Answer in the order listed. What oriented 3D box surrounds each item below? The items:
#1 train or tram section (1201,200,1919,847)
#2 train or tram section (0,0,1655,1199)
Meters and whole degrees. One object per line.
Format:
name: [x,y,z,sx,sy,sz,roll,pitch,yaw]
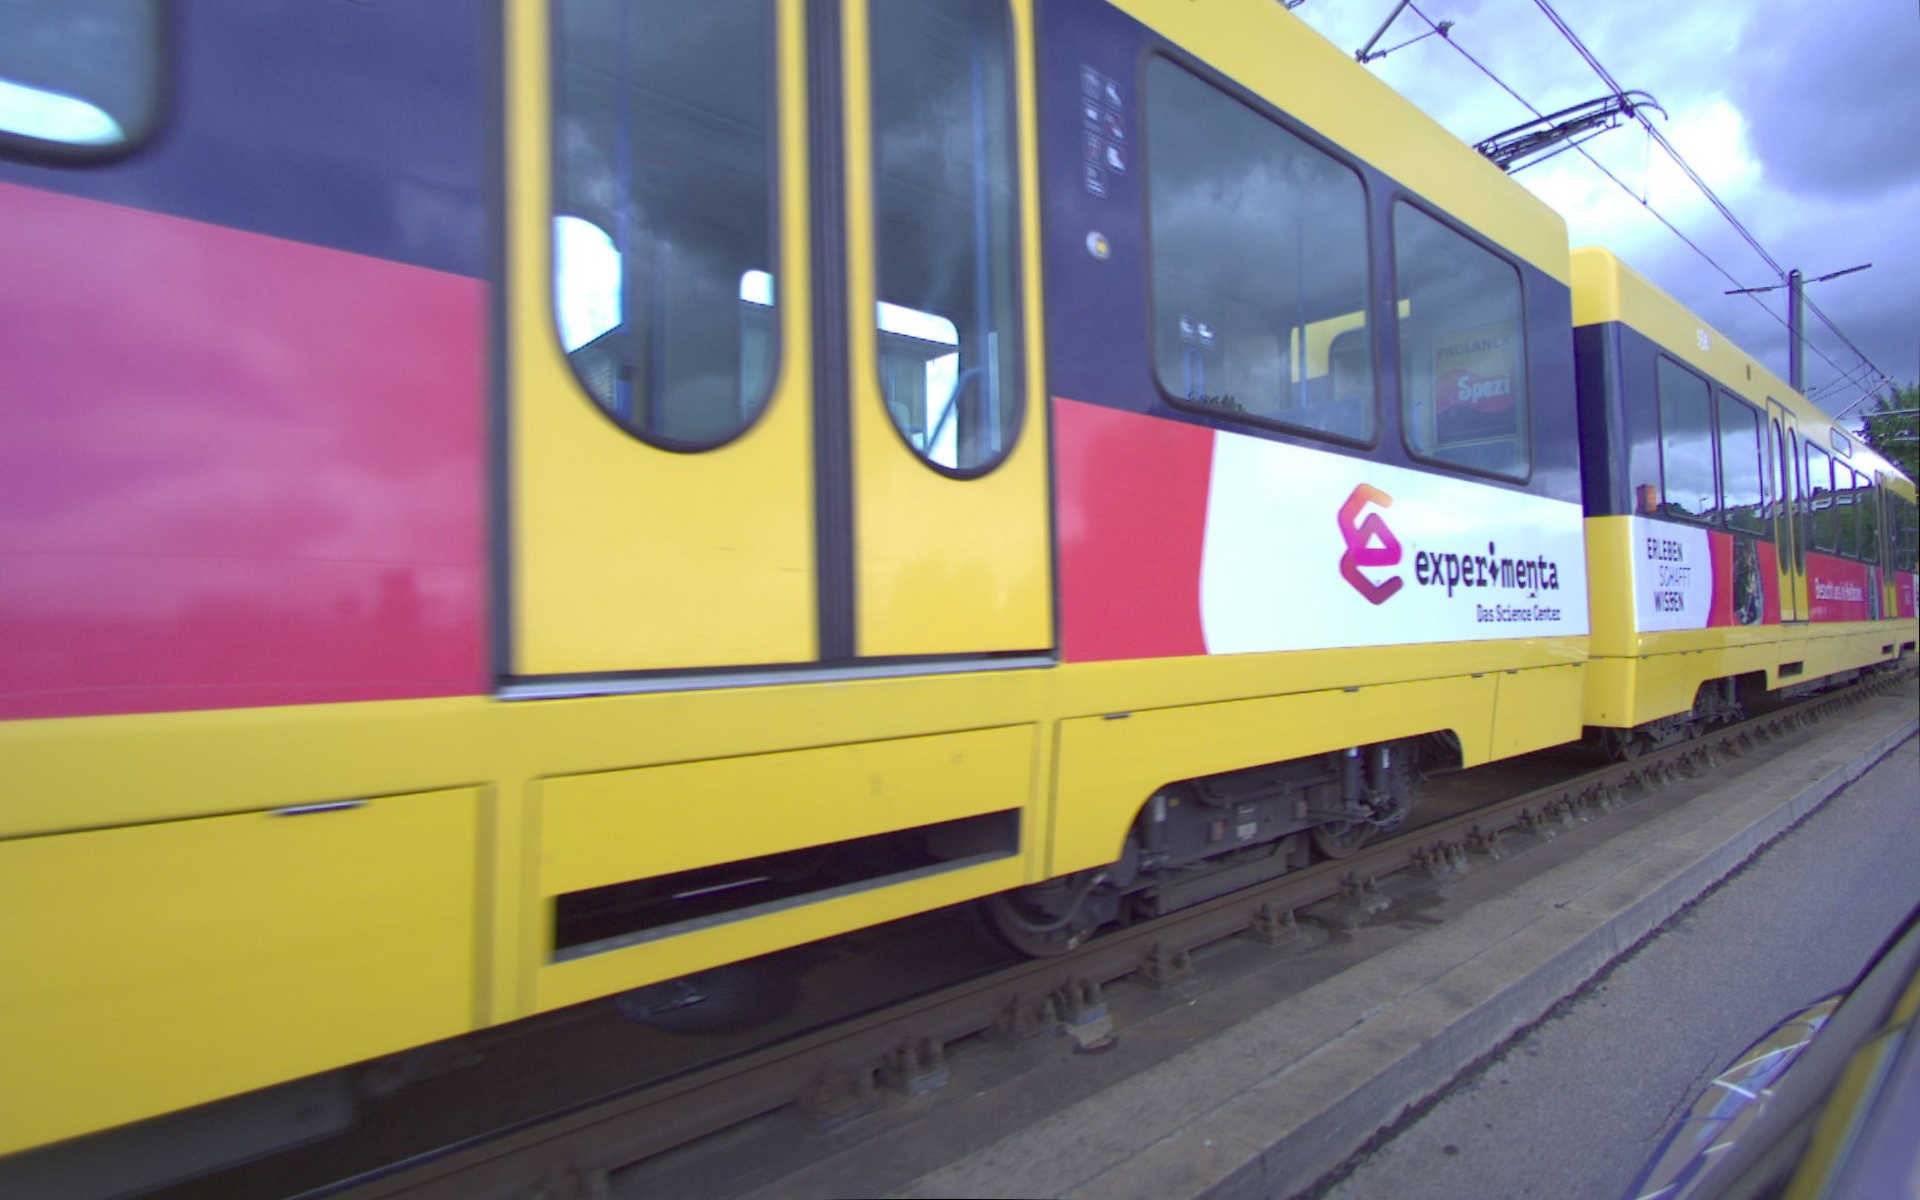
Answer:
train or tram section: [9.638,-0.472,12.787,18.345,3.553,2.887,0,1,-42]
train or tram section: [-3.846,-0.434,0.672,18.345,3.625,2.834,0,1,-42]
